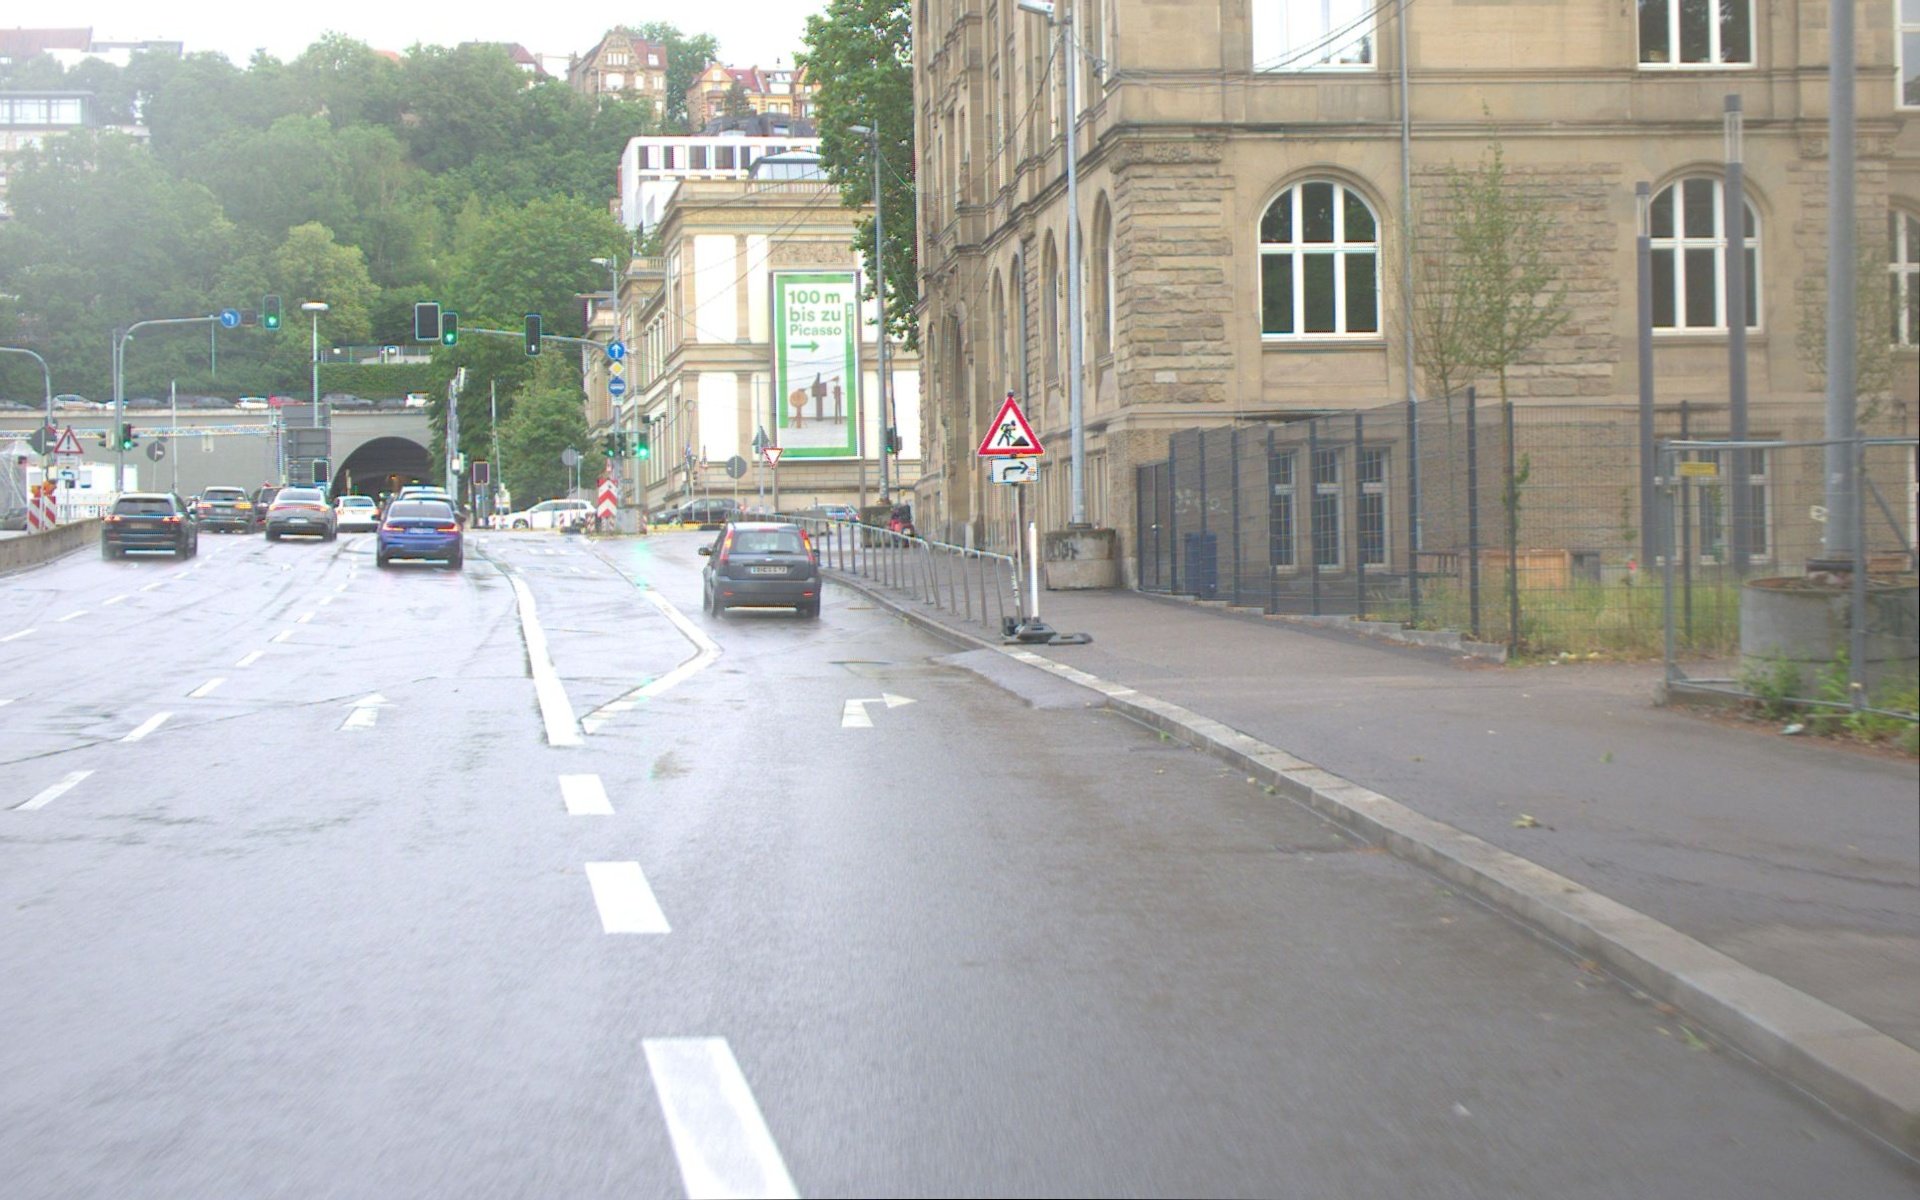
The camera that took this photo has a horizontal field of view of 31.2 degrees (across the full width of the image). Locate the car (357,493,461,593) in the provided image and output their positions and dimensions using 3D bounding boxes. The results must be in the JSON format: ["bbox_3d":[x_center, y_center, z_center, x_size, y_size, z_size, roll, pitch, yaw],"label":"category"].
[{"bbox_3d":[-11.917,-1.207,74.461,2.104,2.043,4.001,-2,0,-9],"label":"car"}]

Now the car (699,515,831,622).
[{"bbox_3d":[-3.045,-0.470,53.073,1.812,1.521,4.001,-2,0,-6],"label":"car"}]

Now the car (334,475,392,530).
[{"bbox_3d":[-22.960,-3.727,132.055,1.993,2.007,4.001,-2,1,-12],"label":"car"}]

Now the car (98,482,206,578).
[{"bbox_3d":[-18.226,-1.553,77.682,2.016,2.007,4.001,-2,0,-9],"label":"car"}]

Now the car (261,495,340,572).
[{"bbox_3d":[-18.532,-1.854,96.701,2.051,2.007,4.001,-2,0,-10],"label":"car"}]

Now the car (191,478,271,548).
[{"bbox_3d":[-22.645,-2.690,106.927,1.993,2.007,4.001,-2,0,-6],"label":"car"}]

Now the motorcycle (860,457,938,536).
[{"bbox_3d":[-1.633,-2.756,90.868,1.795,2.006,3.814,-1,2,-5],"label":"motorcycle"}]
